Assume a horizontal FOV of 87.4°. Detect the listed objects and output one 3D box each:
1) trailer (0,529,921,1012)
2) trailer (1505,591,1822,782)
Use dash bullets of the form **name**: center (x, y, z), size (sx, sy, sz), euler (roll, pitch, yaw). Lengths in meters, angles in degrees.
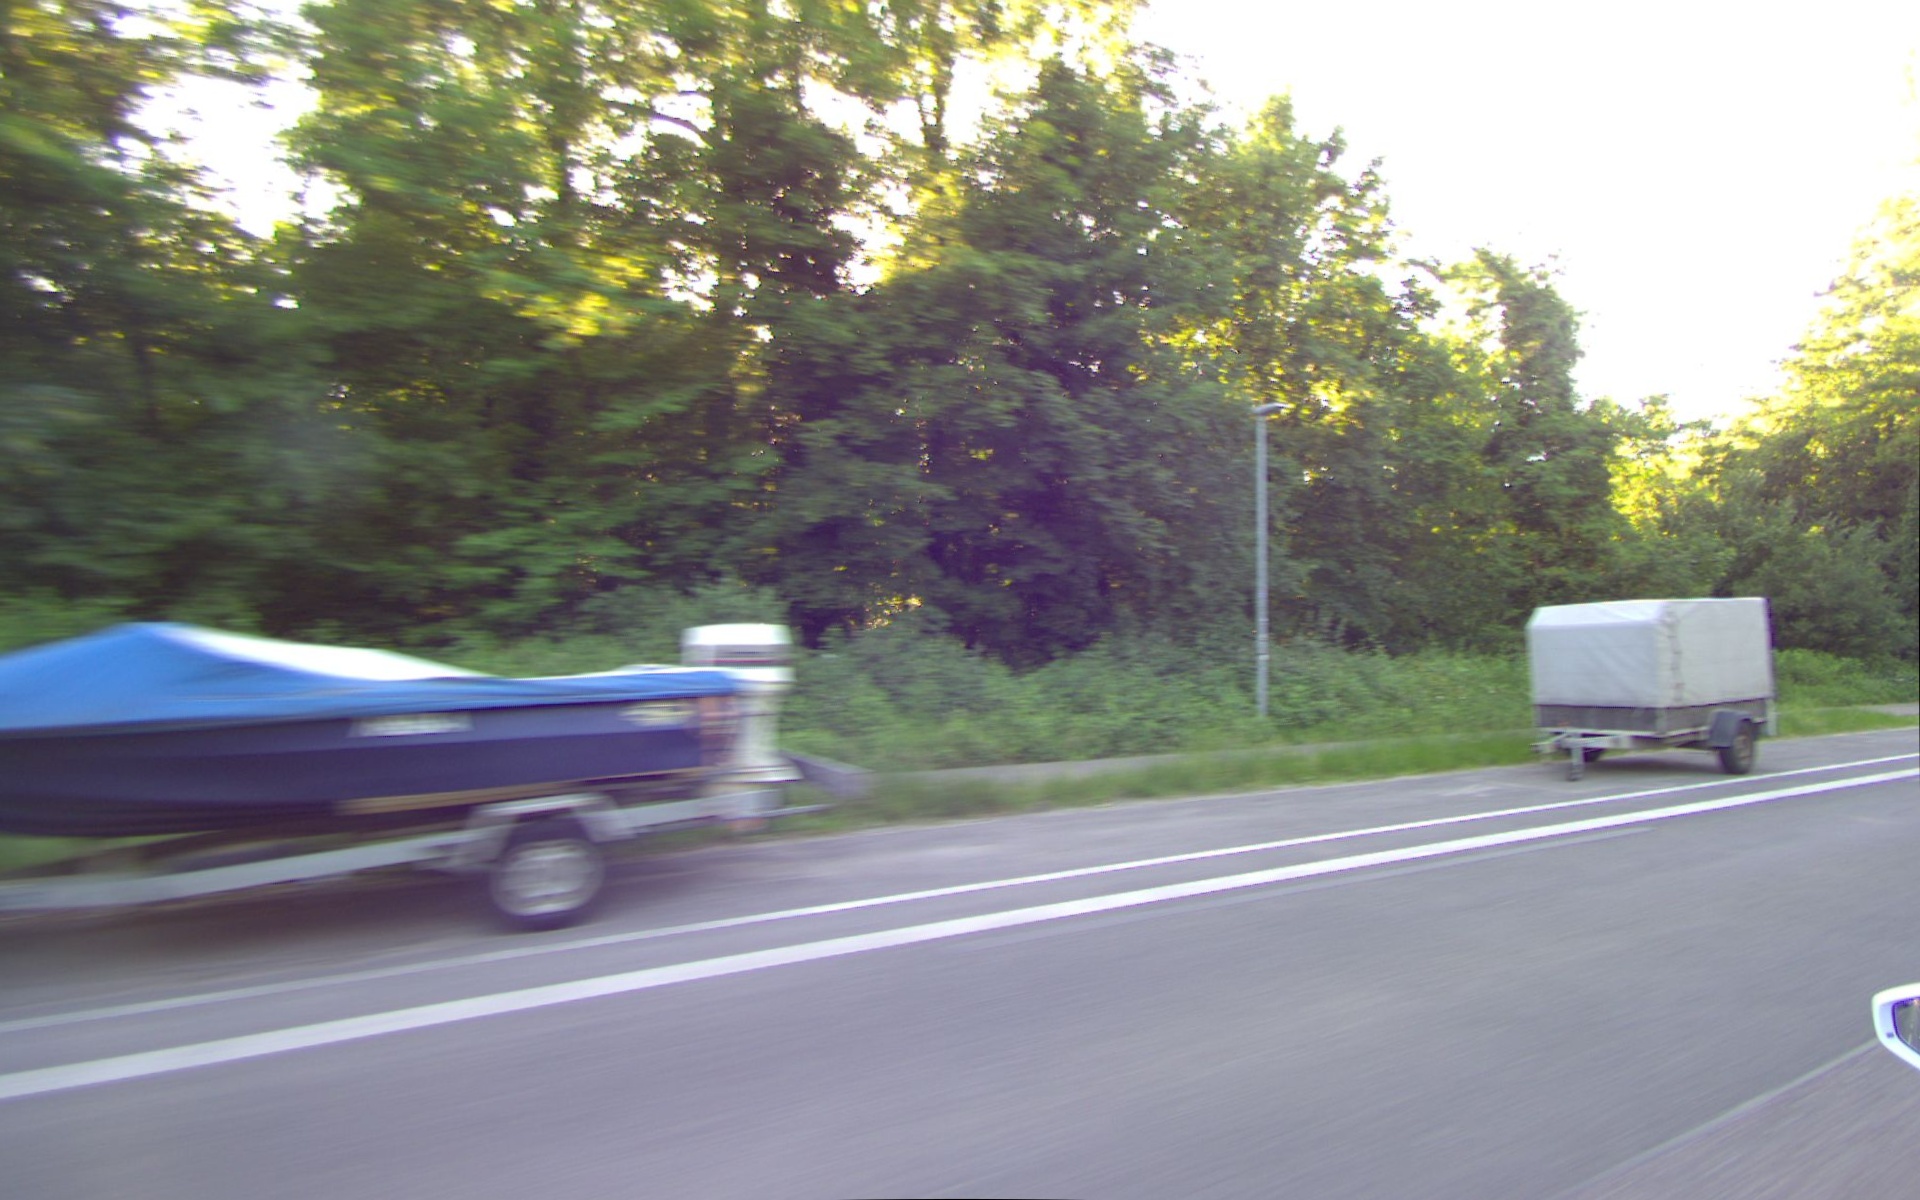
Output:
- **trailer**: center (-3.509, 0.713, 5.640), size (6.190, 1.940, 2.417), euler (1, -1, -30)
- **trailer**: center (8.746, 1.022, 12.482), size (3.518, 2.039, 1.845), euler (2, -4, -30)
